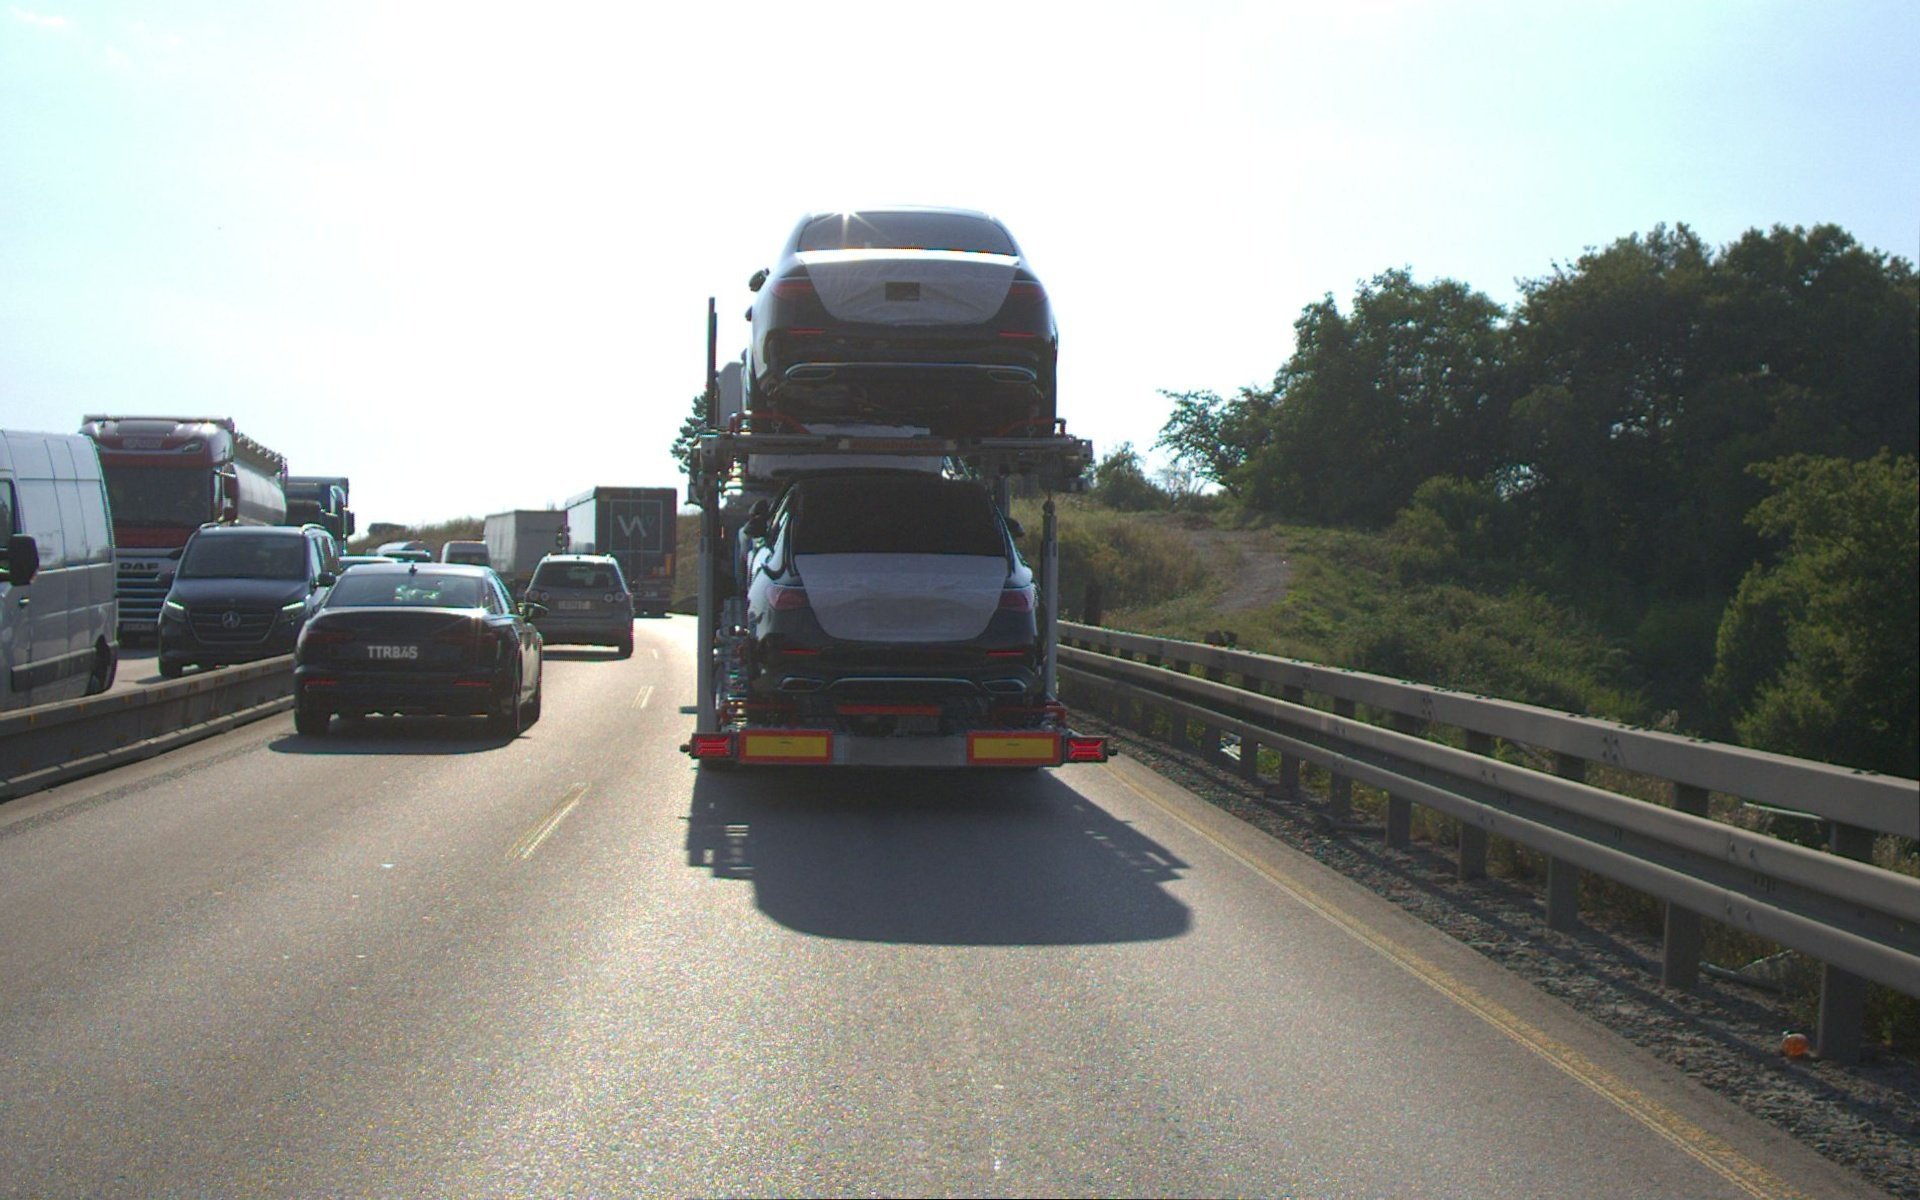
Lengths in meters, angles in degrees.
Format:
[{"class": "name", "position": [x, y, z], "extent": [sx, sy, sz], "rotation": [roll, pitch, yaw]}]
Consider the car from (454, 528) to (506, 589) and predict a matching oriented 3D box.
[{"class": "car", "position": [-19.977, -1.745, 143.238], "extent": [1.920, 2.484, 5.410], "rotation": [0, 1, -6]}]

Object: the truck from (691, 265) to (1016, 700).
[{"class": "truck", "position": [-1.307, -1.100, 34.993], "extent": [2.837, 3.779, 9.988], "rotation": [0, 1, -4]}]

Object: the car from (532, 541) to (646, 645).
[{"class": "car", "position": [-5.892, -0.143, 54.930], "extent": [1.691, 1.590, 4.001], "rotation": [0, 1, -4]}]

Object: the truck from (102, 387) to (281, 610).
[{"class": "truck", "position": [-13.590, -1.729, 61.497], "extent": [2.313, 3.595, 11.975], "rotation": [0, 1, -9]}]

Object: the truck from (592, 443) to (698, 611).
[{"class": "truck", "position": [-10.347, -2.361, 112.238], "extent": [3.285, 5.218, 9.938], "rotation": [0, 1, -6]}]

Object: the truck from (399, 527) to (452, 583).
[{"class": "truck", "position": [-30.480, -2.590, 196.109], "extent": [2.590, 3.159, 6.678], "rotation": [0, 1, -5]}]

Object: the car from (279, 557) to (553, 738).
[{"class": "car", "position": [-4.687, 0.354, 30.260], "extent": [1.934, 1.394, 4.962], "rotation": [0, 1, -4]}]

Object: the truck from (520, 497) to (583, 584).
[{"class": "truck", "position": [-17.459, -2.534, 147.277], "extent": [2.530, 3.635, 8.907], "rotation": [0, 1, -6]}]

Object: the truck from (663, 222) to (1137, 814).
[{"class": "truck", "position": [-0.659, -0.567, 25.621], "extent": [2.799, 3.485, 10.607], "rotation": [0, 1, -3]}]

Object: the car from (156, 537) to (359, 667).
[{"class": "car", "position": [-8.890, -0.009, 43.812], "extent": [1.880, 1.568, 4.192], "rotation": [0, 1, -2]}]

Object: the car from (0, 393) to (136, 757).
[{"class": "car", "position": [-7.753, -0.204, 25.749], "extent": [2.104, 2.474, 6.068], "rotation": [0, 1, -4]}]
